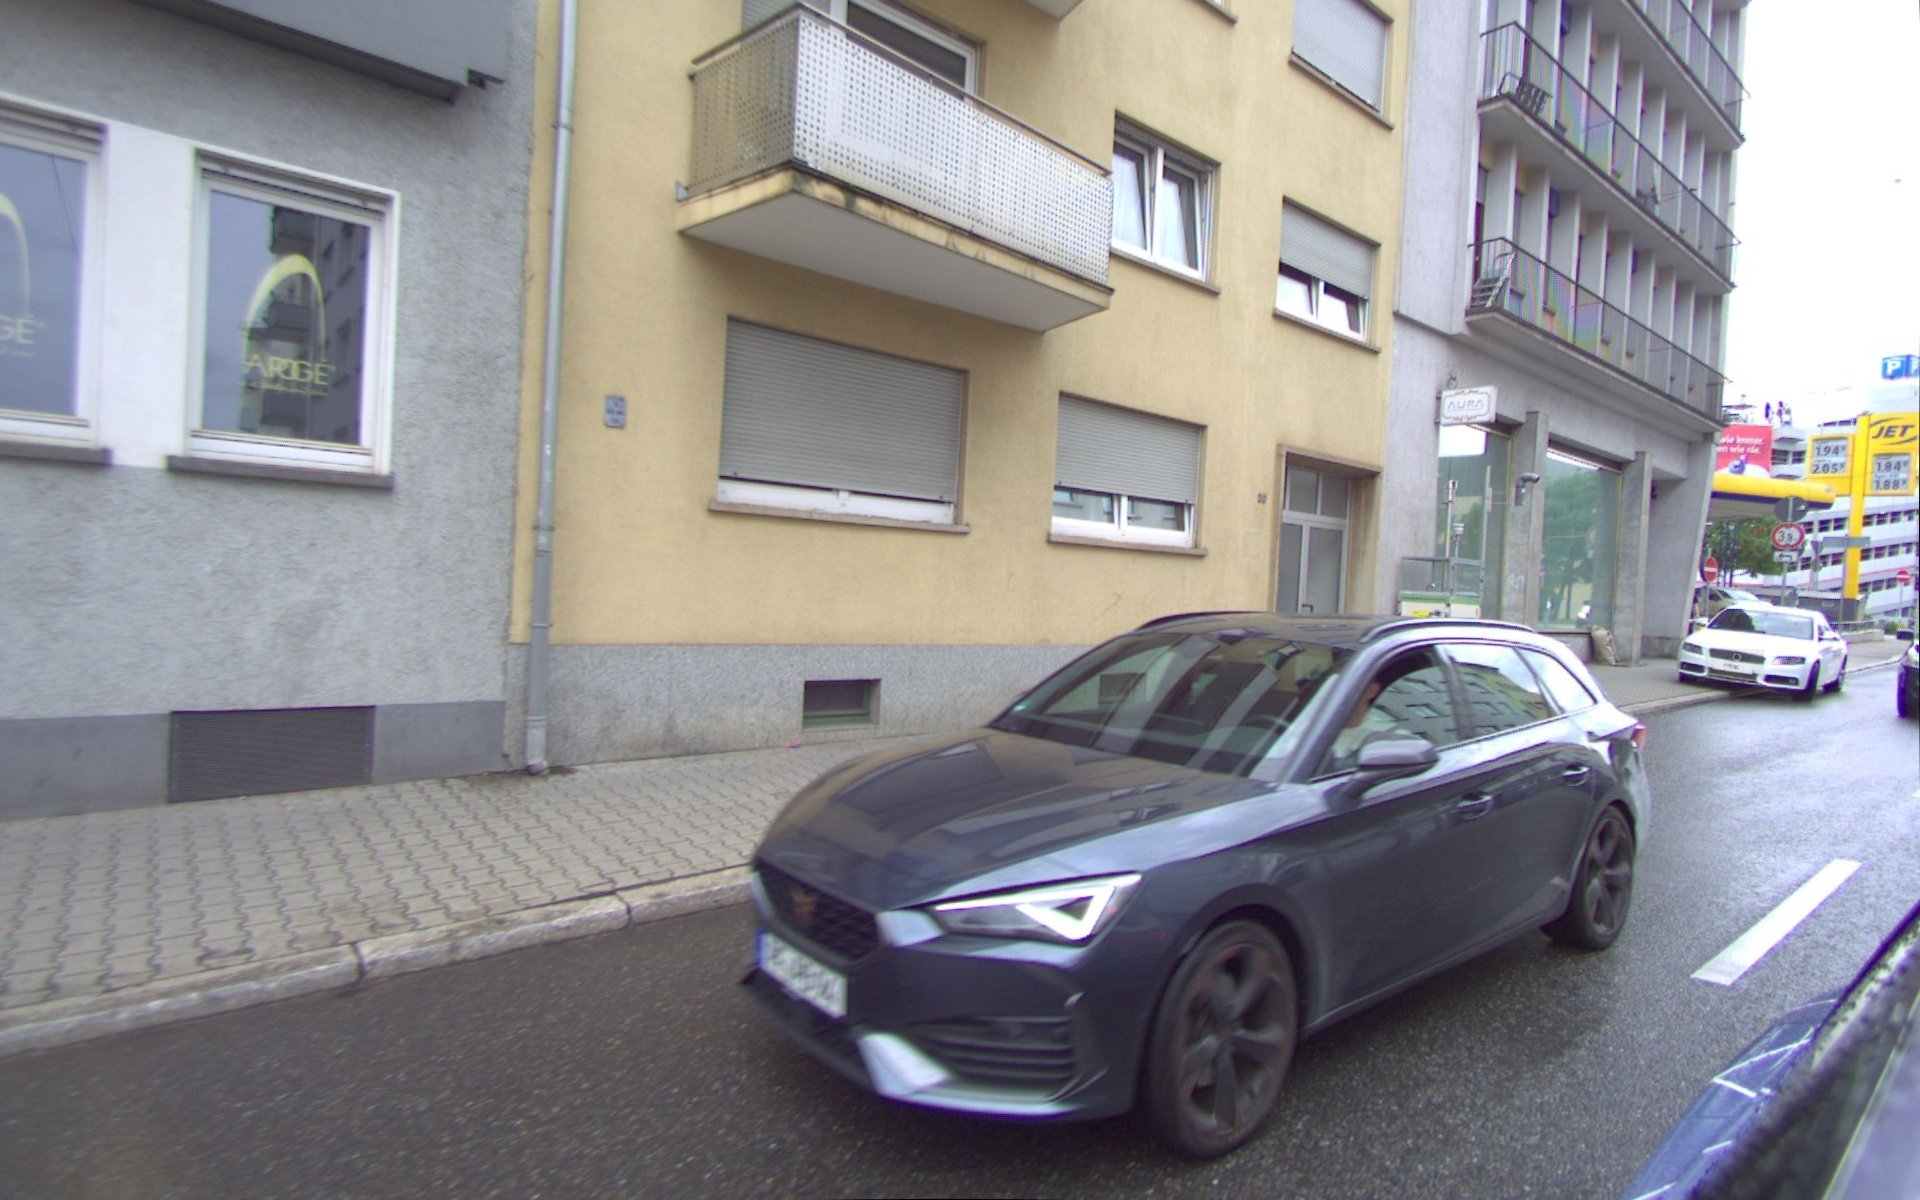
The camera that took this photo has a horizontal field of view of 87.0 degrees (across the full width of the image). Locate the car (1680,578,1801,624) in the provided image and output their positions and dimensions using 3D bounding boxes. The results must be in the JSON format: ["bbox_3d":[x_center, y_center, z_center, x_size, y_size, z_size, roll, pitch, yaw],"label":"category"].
[{"bbox_3d":[30.582,0.006,39.811,1.715,1.459,3.998,3,4,4],"label":"car"}]

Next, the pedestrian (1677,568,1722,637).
[{"bbox_3d":[20.140,0.069,27.570,0.648,1.792,0.529,4,4,8],"label":"pedestrian"}]

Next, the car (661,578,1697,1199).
[{"bbox_3d":[1.303,0.680,4.090,4.502,1.405,1.737,1,1,-41],"label":"car"}]

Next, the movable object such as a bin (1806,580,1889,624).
[{"bbox_3d":[35.279,0.058,40.232,1.741,1.593,2.162,1,3,-39],"label":"movable object such as a bin"}]

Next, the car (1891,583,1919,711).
[{"bbox_3d":[14.562,0.665,14.070,3.928,1.677,1.845,1,1,-40],"label":"car"}]

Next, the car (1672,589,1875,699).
[{"bbox_3d":[14.067,0.684,17.399,4.529,1.418,1.898,1,7,-42],"label":"car"}]

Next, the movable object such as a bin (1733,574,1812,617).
[{"bbox_3d":[33.698,-0.197,41.989,1.741,1.574,2.162,1,4,-39],"label":"movable object such as a bin"}]
